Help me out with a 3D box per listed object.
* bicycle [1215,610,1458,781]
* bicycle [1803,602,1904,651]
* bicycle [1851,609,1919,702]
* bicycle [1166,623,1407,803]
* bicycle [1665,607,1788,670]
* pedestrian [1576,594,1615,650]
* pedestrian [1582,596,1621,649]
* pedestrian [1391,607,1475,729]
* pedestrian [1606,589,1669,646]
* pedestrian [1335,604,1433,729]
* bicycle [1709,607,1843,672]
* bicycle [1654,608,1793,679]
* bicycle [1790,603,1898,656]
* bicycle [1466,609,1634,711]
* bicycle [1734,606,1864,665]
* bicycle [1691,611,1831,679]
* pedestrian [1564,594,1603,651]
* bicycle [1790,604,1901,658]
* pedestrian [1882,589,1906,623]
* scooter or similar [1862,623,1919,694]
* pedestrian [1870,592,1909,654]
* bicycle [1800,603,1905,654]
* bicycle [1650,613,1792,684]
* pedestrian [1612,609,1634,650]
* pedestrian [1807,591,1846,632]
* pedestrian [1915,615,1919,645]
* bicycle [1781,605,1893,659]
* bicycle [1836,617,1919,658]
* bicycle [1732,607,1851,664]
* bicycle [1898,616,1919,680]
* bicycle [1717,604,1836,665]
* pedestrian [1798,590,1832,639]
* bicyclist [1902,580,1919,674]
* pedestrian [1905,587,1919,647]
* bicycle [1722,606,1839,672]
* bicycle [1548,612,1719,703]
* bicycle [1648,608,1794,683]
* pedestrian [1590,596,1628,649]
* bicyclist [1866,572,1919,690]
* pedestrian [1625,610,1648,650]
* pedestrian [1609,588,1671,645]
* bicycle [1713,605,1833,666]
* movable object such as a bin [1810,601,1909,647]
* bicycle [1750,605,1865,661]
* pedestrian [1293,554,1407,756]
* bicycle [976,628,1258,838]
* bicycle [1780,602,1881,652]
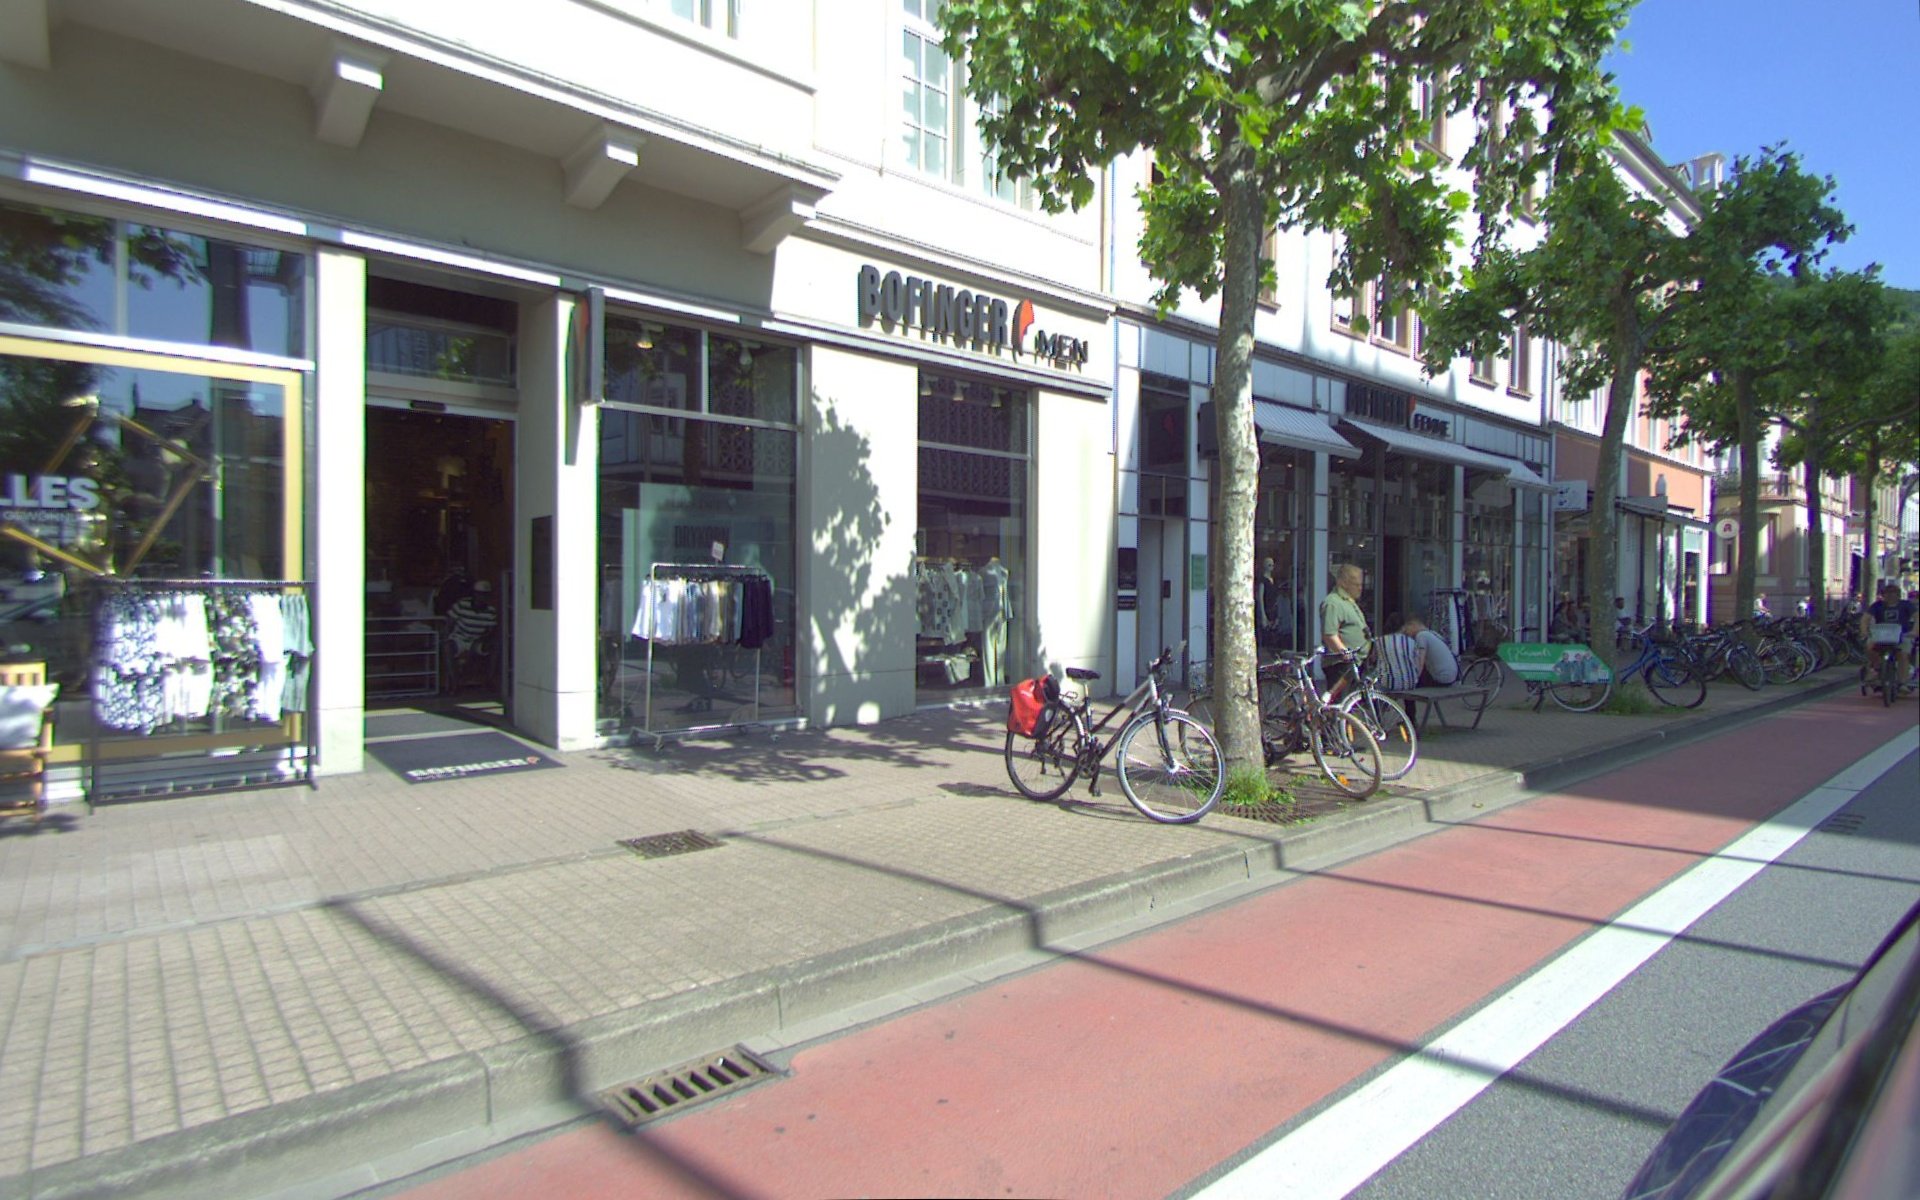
[{"bbox_3d":[3.030,0.706,8.341,0.660,1.212,1.847,0,0,-33],"label":"bicycle"},{"bbox_3d":[22.823,0.653,25.867,0.654,1.141,1.844,-1,2,-38],"label":"bicycle"},{"bbox_3d":[14.072,0.792,15.018,2.238,1.285,0.734,1,-1,-34],"label":"bicycle"},{"bbox_3d":[2.346,0.756,7.525,0.487,1.141,1.848,0,-1,-29],"label":"bicycle"},{"bbox_3d":[14.538,0.723,19.233,1.818,1.141,0.446,0,1,13],"label":"bicycle"},{"bbox_3d":[15.551,0.525,24.765,0.523,1.355,0.682,0,0,-43],"label":"pedestrian"},{"bbox_3d":[15.935,0.549,25.139,0.523,1.268,0.682,1,1,-43],"label":"pedestrian"},{"bbox_3d":[5.097,0.709,10.913,0.587,1.248,0.640,-1,0,-43],"label":"pedestrian"},{"bbox_3d":[18.008,0.451,26.916,0.777,1.440,1.234,-1,2,-43],"label":"pedestrian"},{"bbox_3d":[4.502,0.677,10.765,0.566,1.258,0.788,-1,0,-43],"label":"pedestrian"},{"bbox_3d":[14.980,0.710,18.625,1.819,1.141,0.591,0,1,14],"label":"bicycle"},{"bbox_3d":[13.051,0.734,17.368,1.835,1.141,0.755,-2,0,37],"label":"bicycle"},{"bbox_3d":[20.983,0.675,24.050,0.654,1.141,1.844,-1,2,-38],"label":"bicycle"},{"bbox_3d":[7.426,0.731,12.825,1.760,1.212,0.573,0,0,23],"label":"bicycle"},{"bbox_3d":[17.933,0.731,21.685,0.746,1.141,1.995,-1,2,-28],"label":"bicycle"},{"bbox_3d":[13.993,0.759,17.730,0.554,1.107,1.843,0,0,-40],"label":"bicycle"},{"bbox_3d":[15.058,0.535,24.440,0.523,1.349,0.682,0,0,-43],"label":"pedestrian"},{"bbox_3d":[20.463,0.701,23.429,0.654,1.141,1.844,-1,2,-38],"label":"bicycle"},{"bbox_3d":[50.999,0.314,55.279,0.754,1.813,0.840,0,1,-40],"label":"pedestrian"},{"bbox_3d":[15.088,0.914,16.175,1.105,1.074,0.785,0,-1,-37],"label":"scooter or similar"},{"bbox_3d":[27.855,0.670,30.325,0.630,1.818,0.788,1,-1,-43],"label":"pedestrian"},{"bbox_3d":[21.770,0.678,24.712,0.632,1.141,1.844,-1,2,-38],"label":"bicycle"},{"bbox_3d":[12.592,0.783,16.781,1.837,1.107,0.556,-1,-1,40],"label":"bicycle"},{"bbox_3d":[16.132,0.717,24.616,0.429,0.980,0.342,0,0,-39],"label":"pedestrian"},{"bbox_3d":[35.944,0.462,42.000,0.892,1.630,0.970,1,4,21],"label":"pedestrian"},{"bbox_3d":[30.934,0.591,32.145,0.777,1.728,0.640,-3,9,-44],"label":"pedestrian"},{"bbox_3d":[19.918,0.707,23.020,0.520,1.141,1.844,-1,2,-38],"label":"bicycle"},{"bbox_3d":[25.124,1.023,27.525,1.018,0.395,1.854,-44,19,-32],"label":"bicycle"},{"bbox_3d":[17.396,0.726,21.233,0.519,1.141,1.848,-1,-1,-28],"label":"bicycle"},{"bbox_3d":[18.259,0.894,19.028,1.998,1.141,0.736,0,0,-42],"label":"bicycle"},{"bbox_3d":[16.740,0.690,20.793,0.440,1.141,1.845,-1,2,-37],"label":"bicycle"},{"bbox_3d":[29.876,0.492,35.375,0.773,1.679,0.642,3,-1,-27],"label":"pedestrian"},{"bbox_3d":[18.243,0.502,19.015,0.830,1.739,0.684,0,-1,-41],"label":"bicyclist"},{"bbox_3d":[29.215,0.518,30.909,0.597,1.818,0.453,1,-2,-43],"label":"pedestrian"},{"bbox_3d":[15.666,0.714,19.381,0.439,1.141,1.850,-1,2,-13],"label":"bicycle"},{"bbox_3d":[8.965,0.745,13.532,1.838,1.141,0.490,-2,-3,42],"label":"bicycle"},{"bbox_3d":[12.287,0.725,16.382,1.836,1.141,0.623,-2,-1,40],"label":"bicycle"},{"bbox_3d":[16.369,0.566,25.537,0.598,1.268,0.640,-1,3,-43],"label":"pedestrian"},{"bbox_3d":[14.075,0.441,15.025,0.759,1.694,0.733,0,1,-33],"label":"bicyclist"},{"bbox_3d":[16.690,0.729,24.969,0.429,0.980,0.365,0,0,-39],"label":"pedestrian"},{"bbox_3d":[18.544,0.423,27.594,0.823,1.502,1.253,0,1,-43],"label":"pedestrian"},{"bbox_3d":[16.412,0.694,20.481,0.440,1.141,1.845,-1,2,-37],"label":"bicycle"},{"bbox_3d":[23.969,0.634,27.007,0.639,1.204,1.859,0,-1,-25],"label":"movable object such as a bin"},{"bbox_3d":[18.683,0.700,22.348,0.667,1.141,1.844,-2,1,-38],"label":"bicycle"},{"bbox_3d":[3.507,0.473,9.091,0.829,1.711,0.639,1,-2,-43],"label":"pedestrian"},{"bbox_3d":[0.958,0.773,6.652,0.779,1.111,1.846,0,0,-35],"label":"bicycle"},{"bbox_3d":[21.896,0.656,25.490,0.654,1.141,1.844,-1,2,-38],"label":"bicycle"}]
